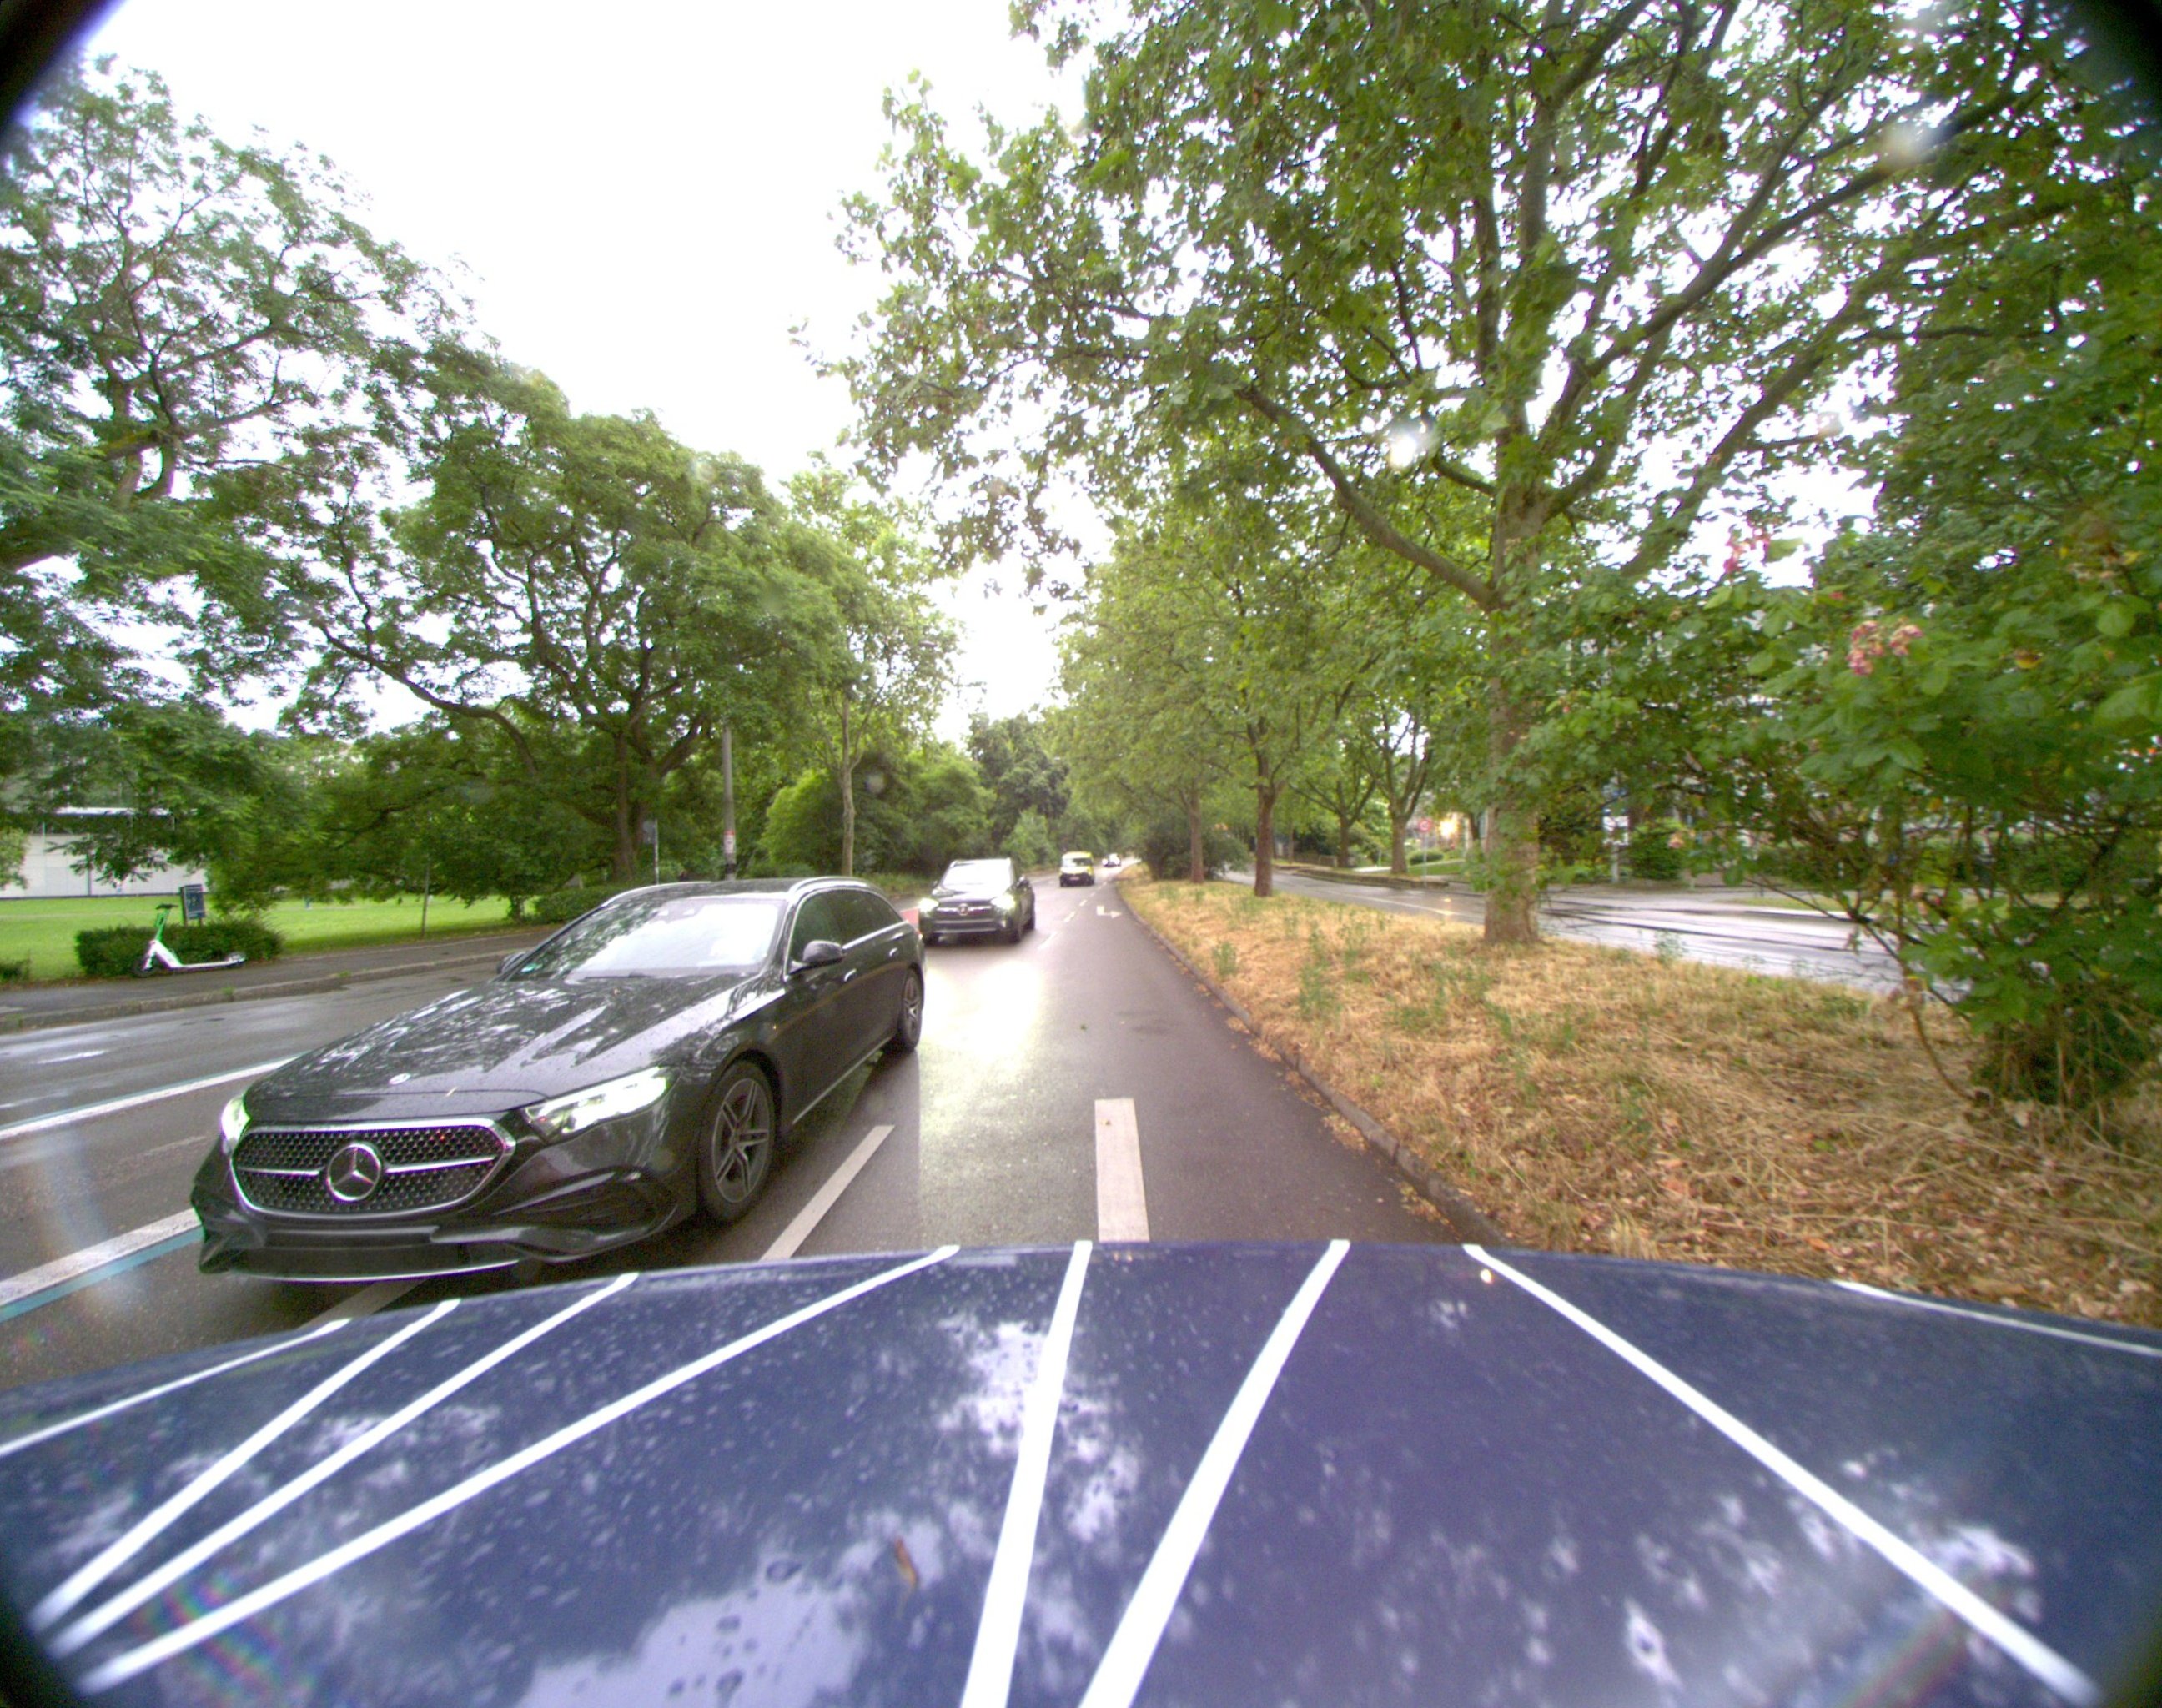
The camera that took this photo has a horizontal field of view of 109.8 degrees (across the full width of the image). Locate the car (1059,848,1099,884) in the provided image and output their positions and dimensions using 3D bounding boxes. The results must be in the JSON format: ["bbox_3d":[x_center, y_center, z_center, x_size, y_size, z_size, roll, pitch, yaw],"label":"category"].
[{"bbox_3d":[-0.055,0.637,43.701,1.883,1.865,4.743,-3,0,4],"label":"car"}]

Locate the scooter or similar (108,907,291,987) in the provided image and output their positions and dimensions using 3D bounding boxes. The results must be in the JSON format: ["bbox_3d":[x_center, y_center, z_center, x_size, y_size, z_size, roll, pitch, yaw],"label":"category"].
[{"bbox_3d":[-14.550,1.488,12.621,0.557,1.095,1.894,2,0,22],"label":"scooter or similar"}]

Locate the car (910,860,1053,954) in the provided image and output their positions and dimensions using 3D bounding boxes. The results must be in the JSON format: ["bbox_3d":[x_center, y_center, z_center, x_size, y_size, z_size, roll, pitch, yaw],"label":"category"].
[{"bbox_3d":[-1.889,0.983,15.976,1.832,1.598,4.579,-2,0,7],"label":"car"}]

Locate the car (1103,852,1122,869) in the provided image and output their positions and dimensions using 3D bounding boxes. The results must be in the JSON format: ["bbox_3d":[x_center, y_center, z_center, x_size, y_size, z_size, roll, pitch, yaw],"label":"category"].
[{"bbox_3d":[3.519,0.685,83.951,1.906,1.766,4.001,-2,0,3],"label":"car"}]

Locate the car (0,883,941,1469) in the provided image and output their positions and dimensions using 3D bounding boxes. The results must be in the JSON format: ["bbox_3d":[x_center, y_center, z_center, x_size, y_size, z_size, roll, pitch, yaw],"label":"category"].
[{"bbox_3d":[-2.383,1.037,4.639,1.884,1.437,4.931,-3,0,2],"label":"car"}]

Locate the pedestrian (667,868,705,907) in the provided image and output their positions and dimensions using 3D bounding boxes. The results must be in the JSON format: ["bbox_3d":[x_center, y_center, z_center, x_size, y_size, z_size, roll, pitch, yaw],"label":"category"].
[{"bbox_3d":[-17.369,1.461,33.412,1.068,1.597,1.060,-1,2,42],"label":"pedestrian"}]
